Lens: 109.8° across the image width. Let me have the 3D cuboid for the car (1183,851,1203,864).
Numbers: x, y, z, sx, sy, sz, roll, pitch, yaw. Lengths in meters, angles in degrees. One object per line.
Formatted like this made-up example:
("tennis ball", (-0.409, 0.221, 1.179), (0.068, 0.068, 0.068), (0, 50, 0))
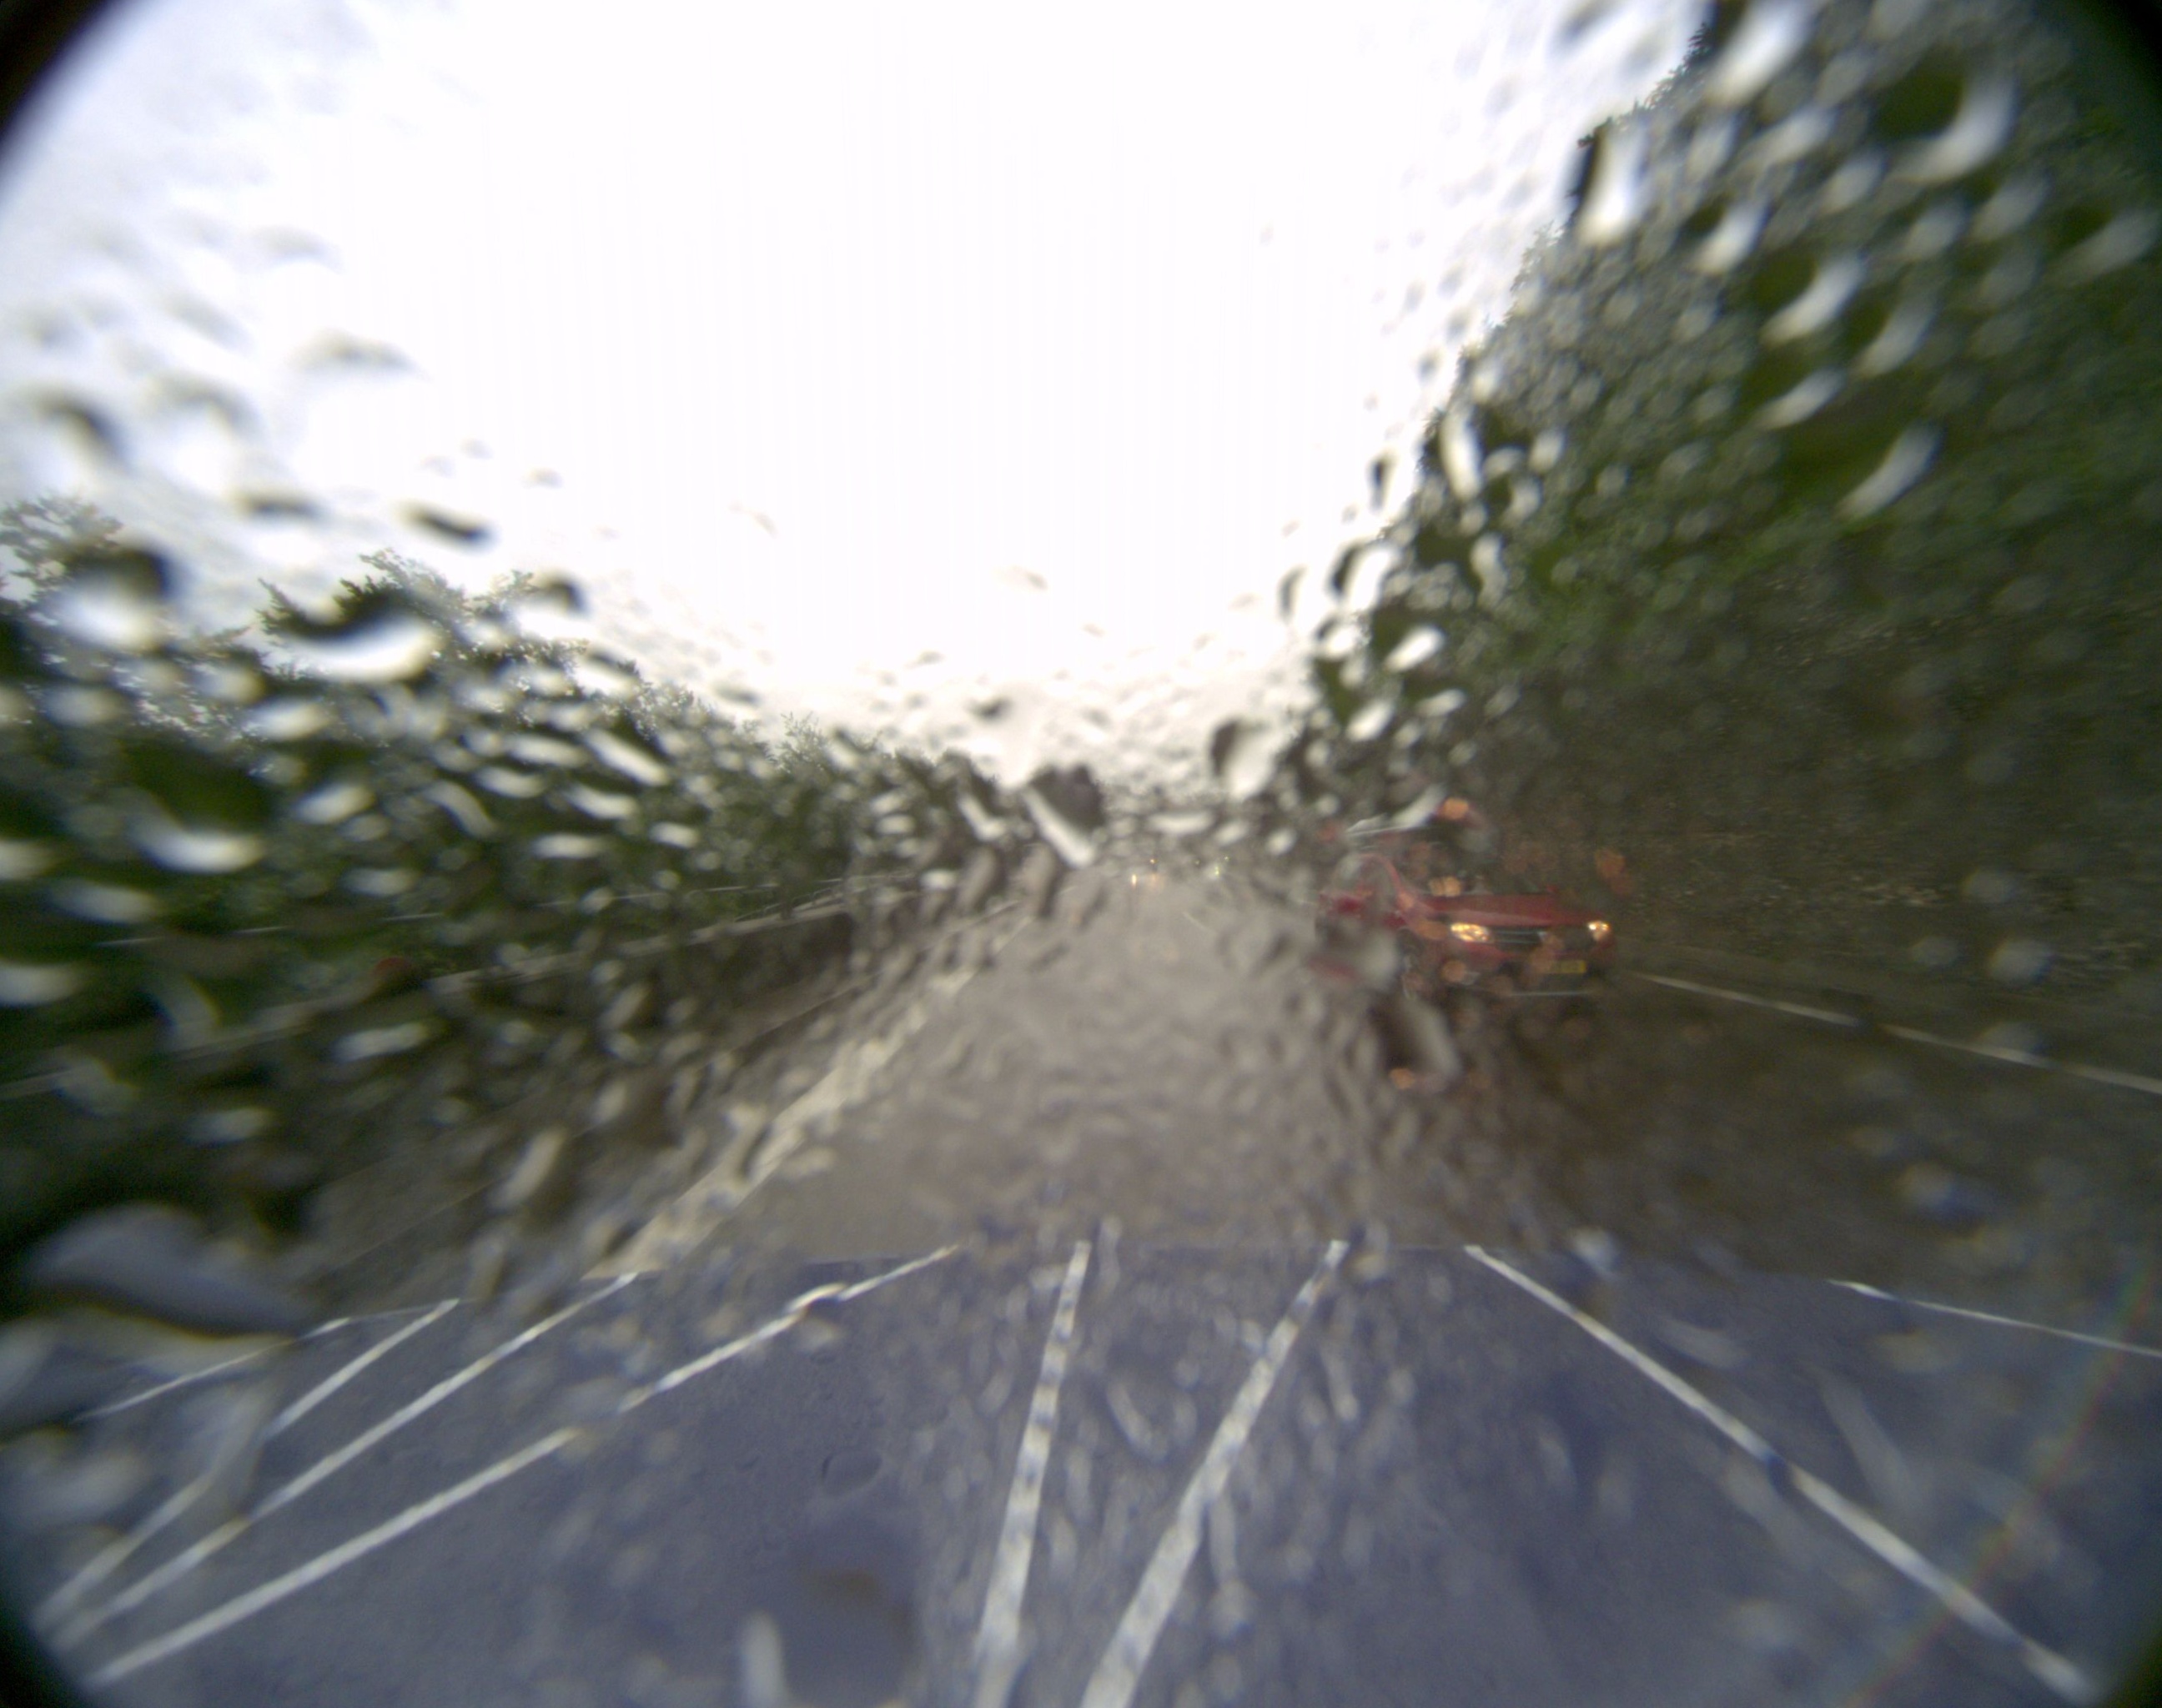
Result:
("car", (12.778, 0.386, 86.538), (1.825, 1.375, 4.004), (-1, 0, 13))

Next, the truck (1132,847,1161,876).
("truck", (5.968, 0.677, 68.277), (2.107, 2.481, 8.009), (0, -1, 9))

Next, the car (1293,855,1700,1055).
("car", (3.904, 0.807, 8.090), (1.999, 1.543, 3.999), (-1, 0, -3))

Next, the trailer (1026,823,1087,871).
("trailer", (-2.144, -0.663, 75.104), (2.939, 4.280, 14.248), (-1, 0, 11))

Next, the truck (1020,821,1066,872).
("truck", (-3.325, -0.652, 68.036), (2.809, 4.280, 6.469), (-1, 0, 8))

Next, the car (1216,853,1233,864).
("car", (21.327, 0.616, 112.956), (1.825, 1.375, 4.004), (-4, 0, 18))
